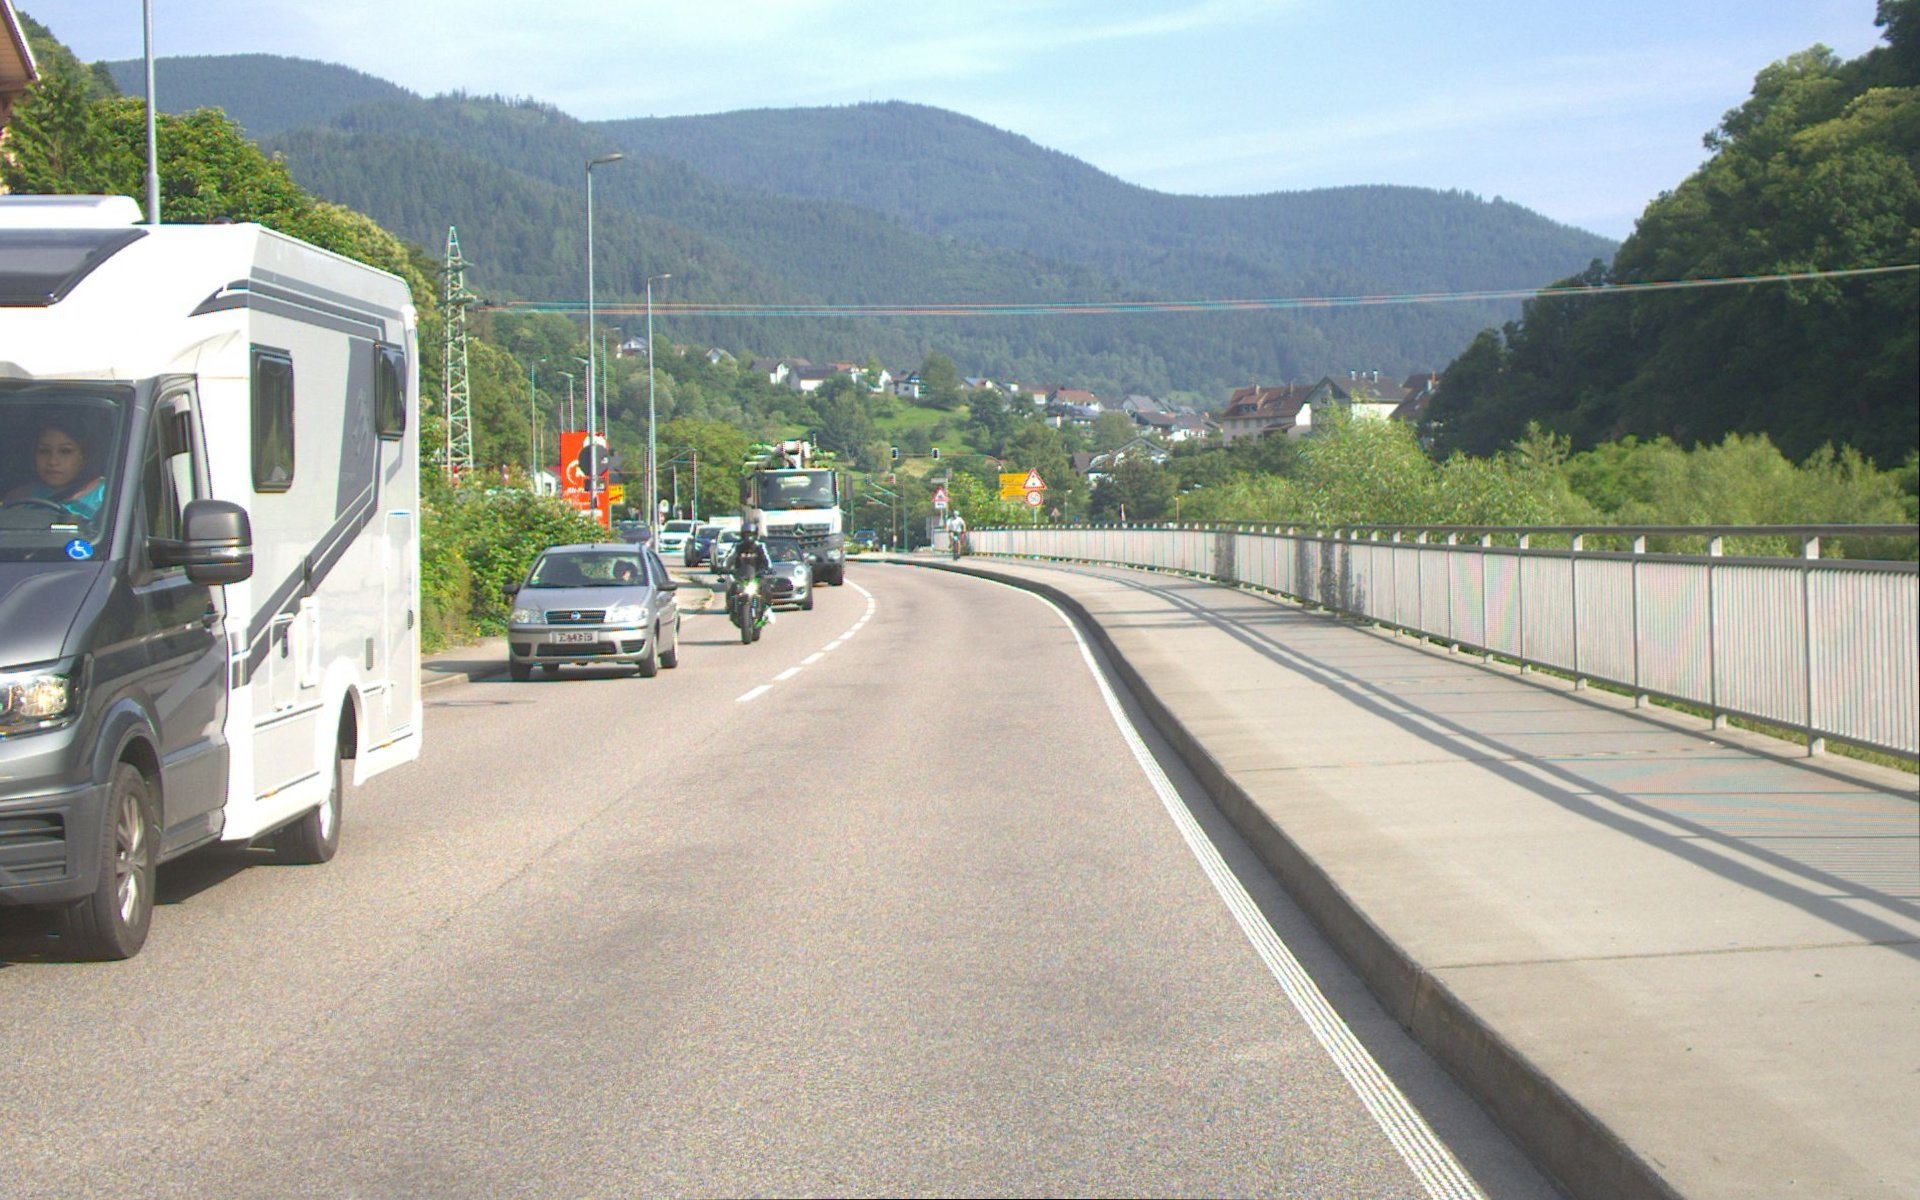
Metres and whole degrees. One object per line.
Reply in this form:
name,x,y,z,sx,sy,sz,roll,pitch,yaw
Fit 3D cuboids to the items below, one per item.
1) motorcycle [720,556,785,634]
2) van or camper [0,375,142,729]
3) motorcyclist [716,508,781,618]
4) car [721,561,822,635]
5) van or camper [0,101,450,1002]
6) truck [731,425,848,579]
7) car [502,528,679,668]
motorcycle,-2.948,-0.087,49.016,0.654,1.064,2.182,-1,1,3
van or camper,-7.958,-0.351,25.572,2.148,2.546,5.901,-1,1,2
motorcyclist,-3.023,-0.531,49.152,0.826,1.553,0.628,-1,1,4
car,-3.735,-0.066,68.638,1.713,1.398,4.000,-1,1,1
van or camper,-3.891,-0.240,14.763,2.195,2.928,7.127,0,1,1
truck,-4.820,-2.656,95.163,2.578,3.918,11.308,-2,1,-6
car,-4.101,-0.061,38.648,1.630,1.480,4.000,-1,1,-1
